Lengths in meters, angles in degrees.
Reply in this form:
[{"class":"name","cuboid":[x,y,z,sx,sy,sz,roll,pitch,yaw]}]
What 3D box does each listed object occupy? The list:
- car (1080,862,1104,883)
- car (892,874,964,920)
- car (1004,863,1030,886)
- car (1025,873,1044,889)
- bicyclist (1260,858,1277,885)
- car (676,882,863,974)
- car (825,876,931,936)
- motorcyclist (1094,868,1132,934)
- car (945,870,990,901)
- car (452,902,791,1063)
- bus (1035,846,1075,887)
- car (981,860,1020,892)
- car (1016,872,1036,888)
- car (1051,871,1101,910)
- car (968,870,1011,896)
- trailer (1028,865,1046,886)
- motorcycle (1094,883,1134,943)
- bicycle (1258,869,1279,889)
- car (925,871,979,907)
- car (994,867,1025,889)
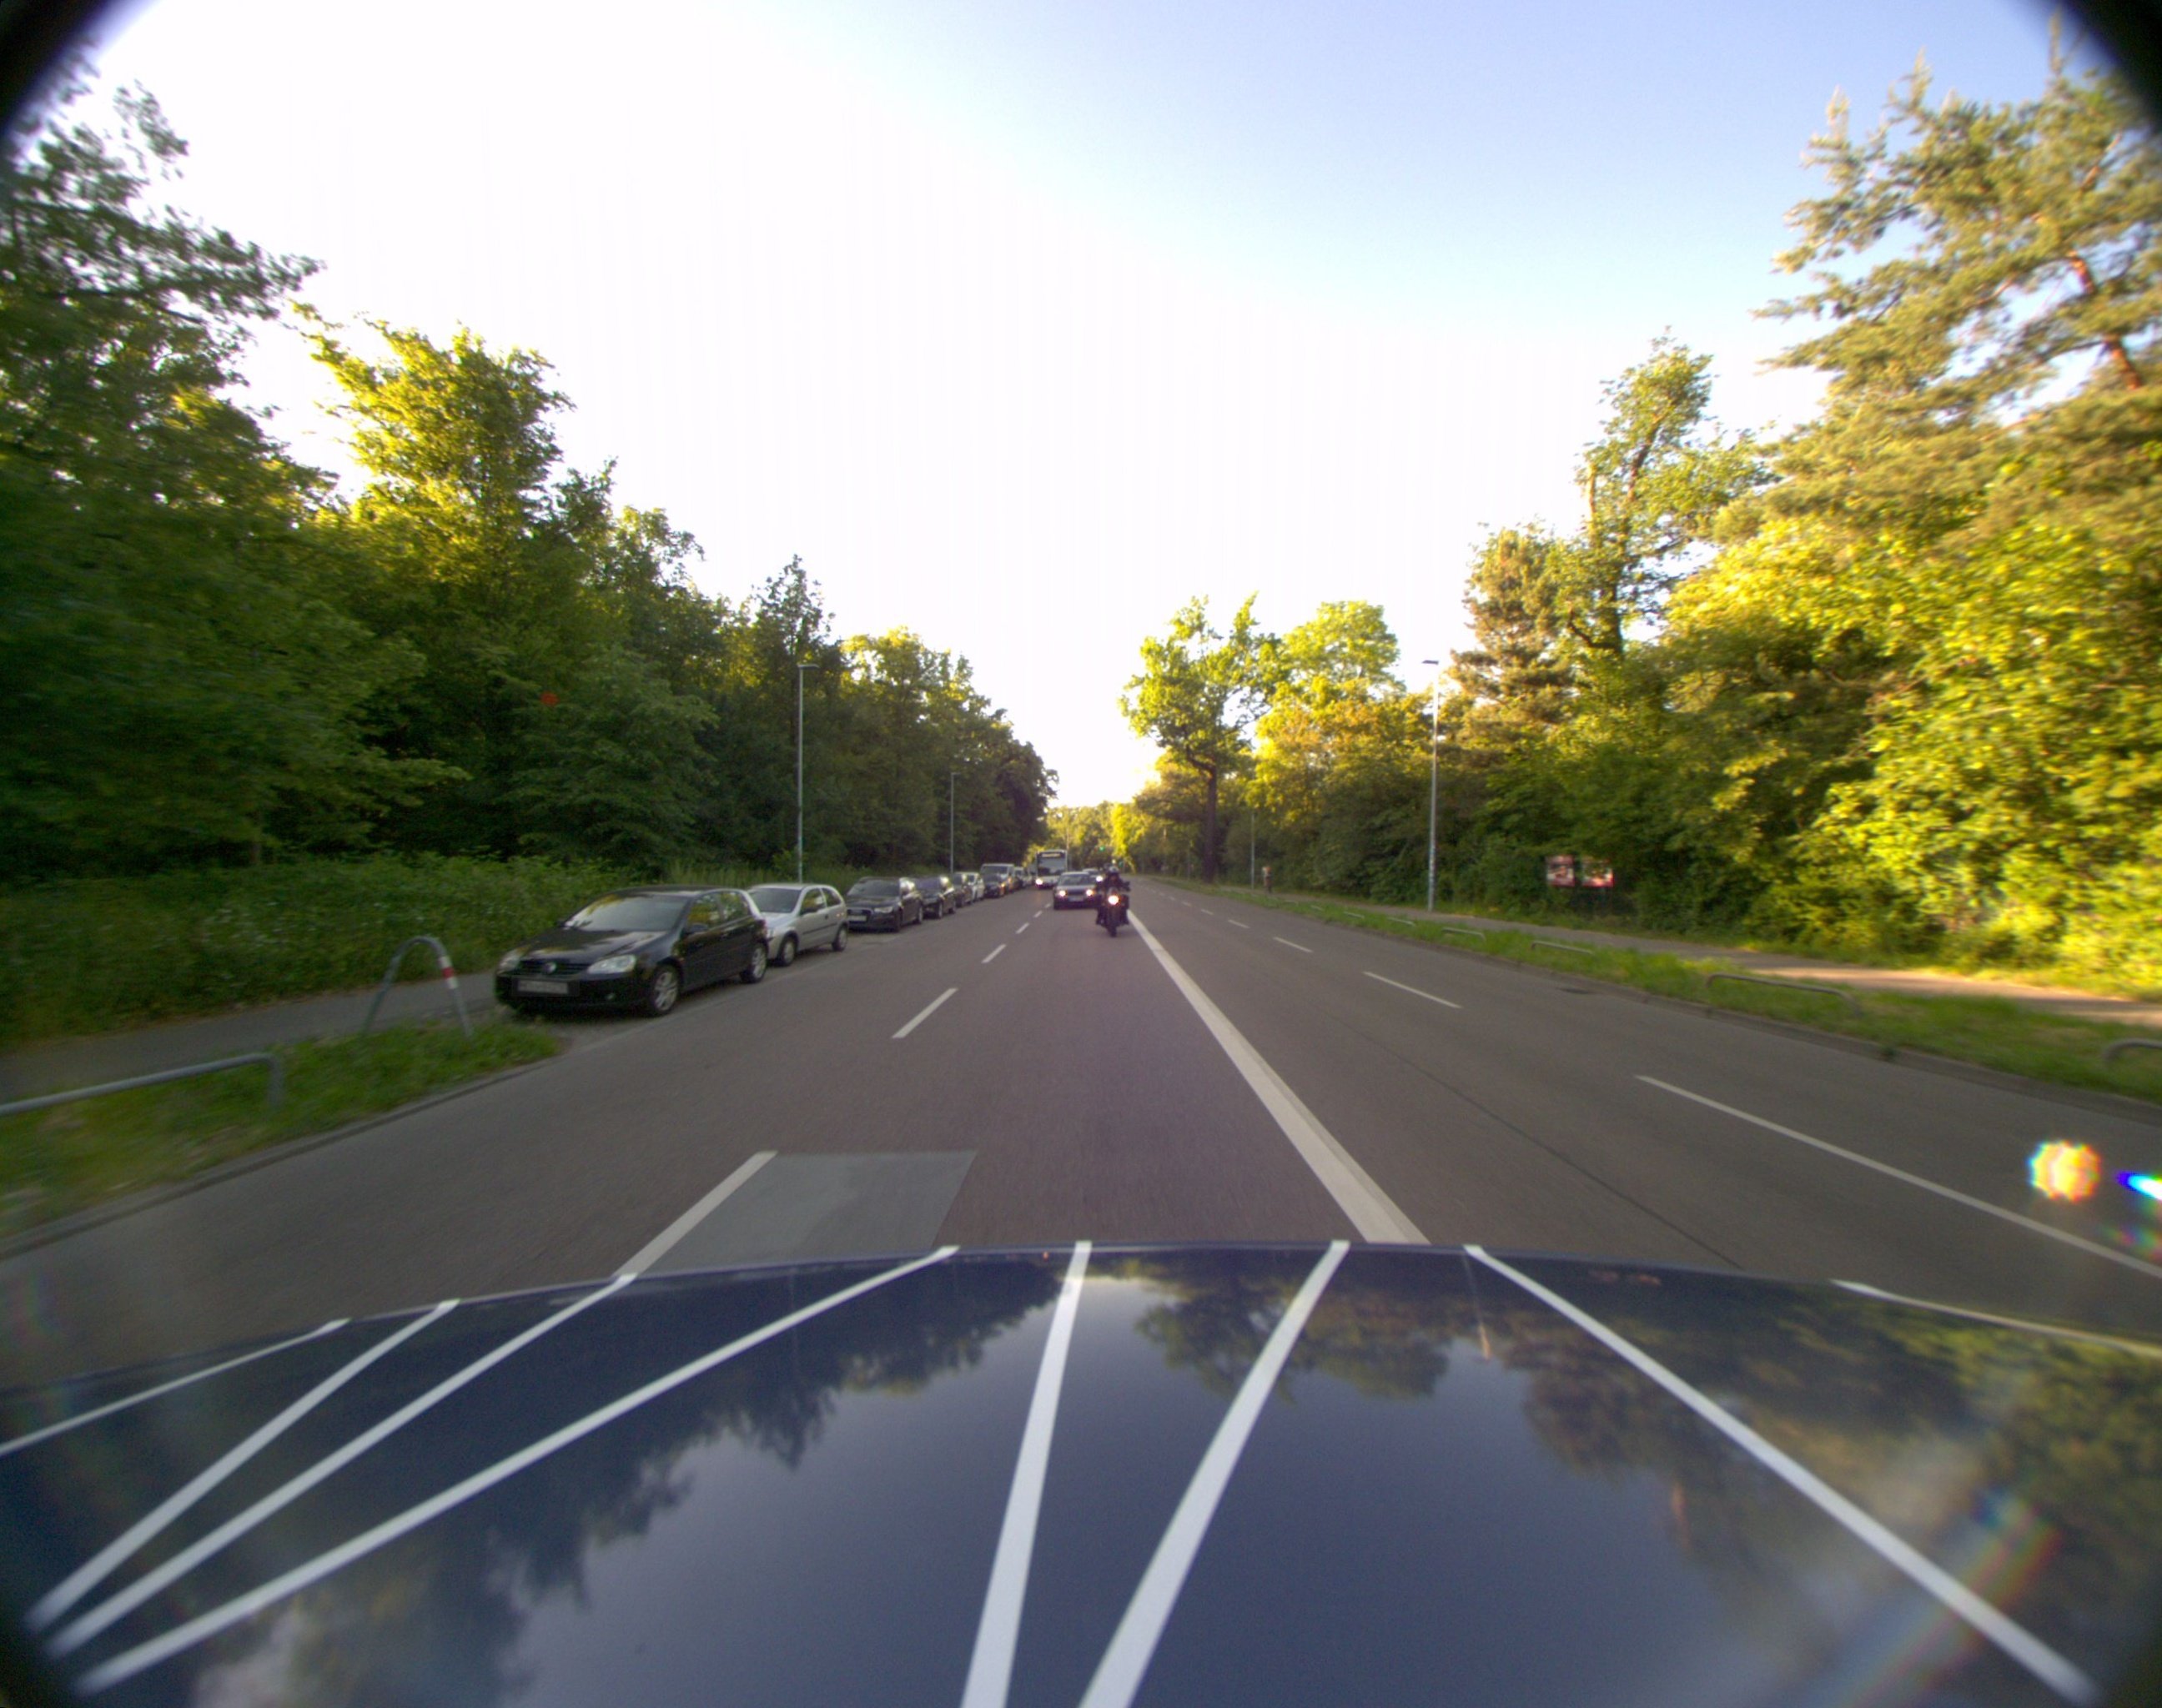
[{"class":"car","cuboid":[0.895,1.458,60.524,1.678,1.552,3.996,-2,-1,3]},{"class":"car","cuboid":[-5.404,1.472,27.427,1.641,1.445,4.898,0,-1,-1]},{"class":"car","cuboid":[-5.269,1.641,62.748,1.763,1.793,4.737,0,-1,-1]},{"class":"car","cuboid":[-4.803,2.763,79.286,1.763,1.526,4.989,0,-1,-1]},{"class":"bicyclist","cuboid":[11.174,1.020,45.369,0.714,1.549,1.143,-2,0,0]},{"class":"car","cuboid":[-5.839,1.320,14.822,1.778,1.445,4.016,0,-1,4]},{"class":"car","cuboid":[-5.717,1.414,22.087,1.779,1.445,5.038,0,-1,-1]},{"class":"motorcyclist","cuboid":[0.748,1.085,17.821,0.830,1.484,1.024,-1,0,1]},{"class":"car","cuboid":[-5.710,1.583,38.642,1.589,1.445,3.799,0,-1,2]},{"class":"car","cuboid":[-5.678,1.490,10.185,1.778,1.445,4.388,0,-1,2]},{"class":"bus","cuboid":[-2.040,1.076,64.586,2.812,3.029,12.888,-1,-1,1]},{"class":"car","cuboid":[-5.280,1.410,50.194,1.873,1.969,5.475,0,-1,1]},{"class":"car","cuboid":[-5.259,2.464,73.070,1.589,1.486,3.181,0,-1,2]},{"class":"car","cuboid":[-0.117,1.386,30.036,1.678,1.351,3.996,-2,-1,3]},{"class":"car","cuboid":[-5.198,1.627,43.708,1.873,1.398,4.369,0,-1,1]},{"class":"trailer","cuboid":[-5.302,2.509,91.433,1.909,2.409,5.126,0,-1,-1]},{"class":"motorcycle","cuboid":[0.737,1.332,17.821,0.830,1.211,2.604,-1,-1,1]},{"class":"bicycle","cuboid":[11.182,1.482,45.374,0.714,1.140,1.993,-2,0,1]},{"class":"car","cuboid":[-5.652,1.503,33.685,1.589,1.445,3.944,0,-1,2]},{"class":"car","cuboid":[-5.272,1.720,56.475,1.763,1.538,4.429,0,-1,1]}]
